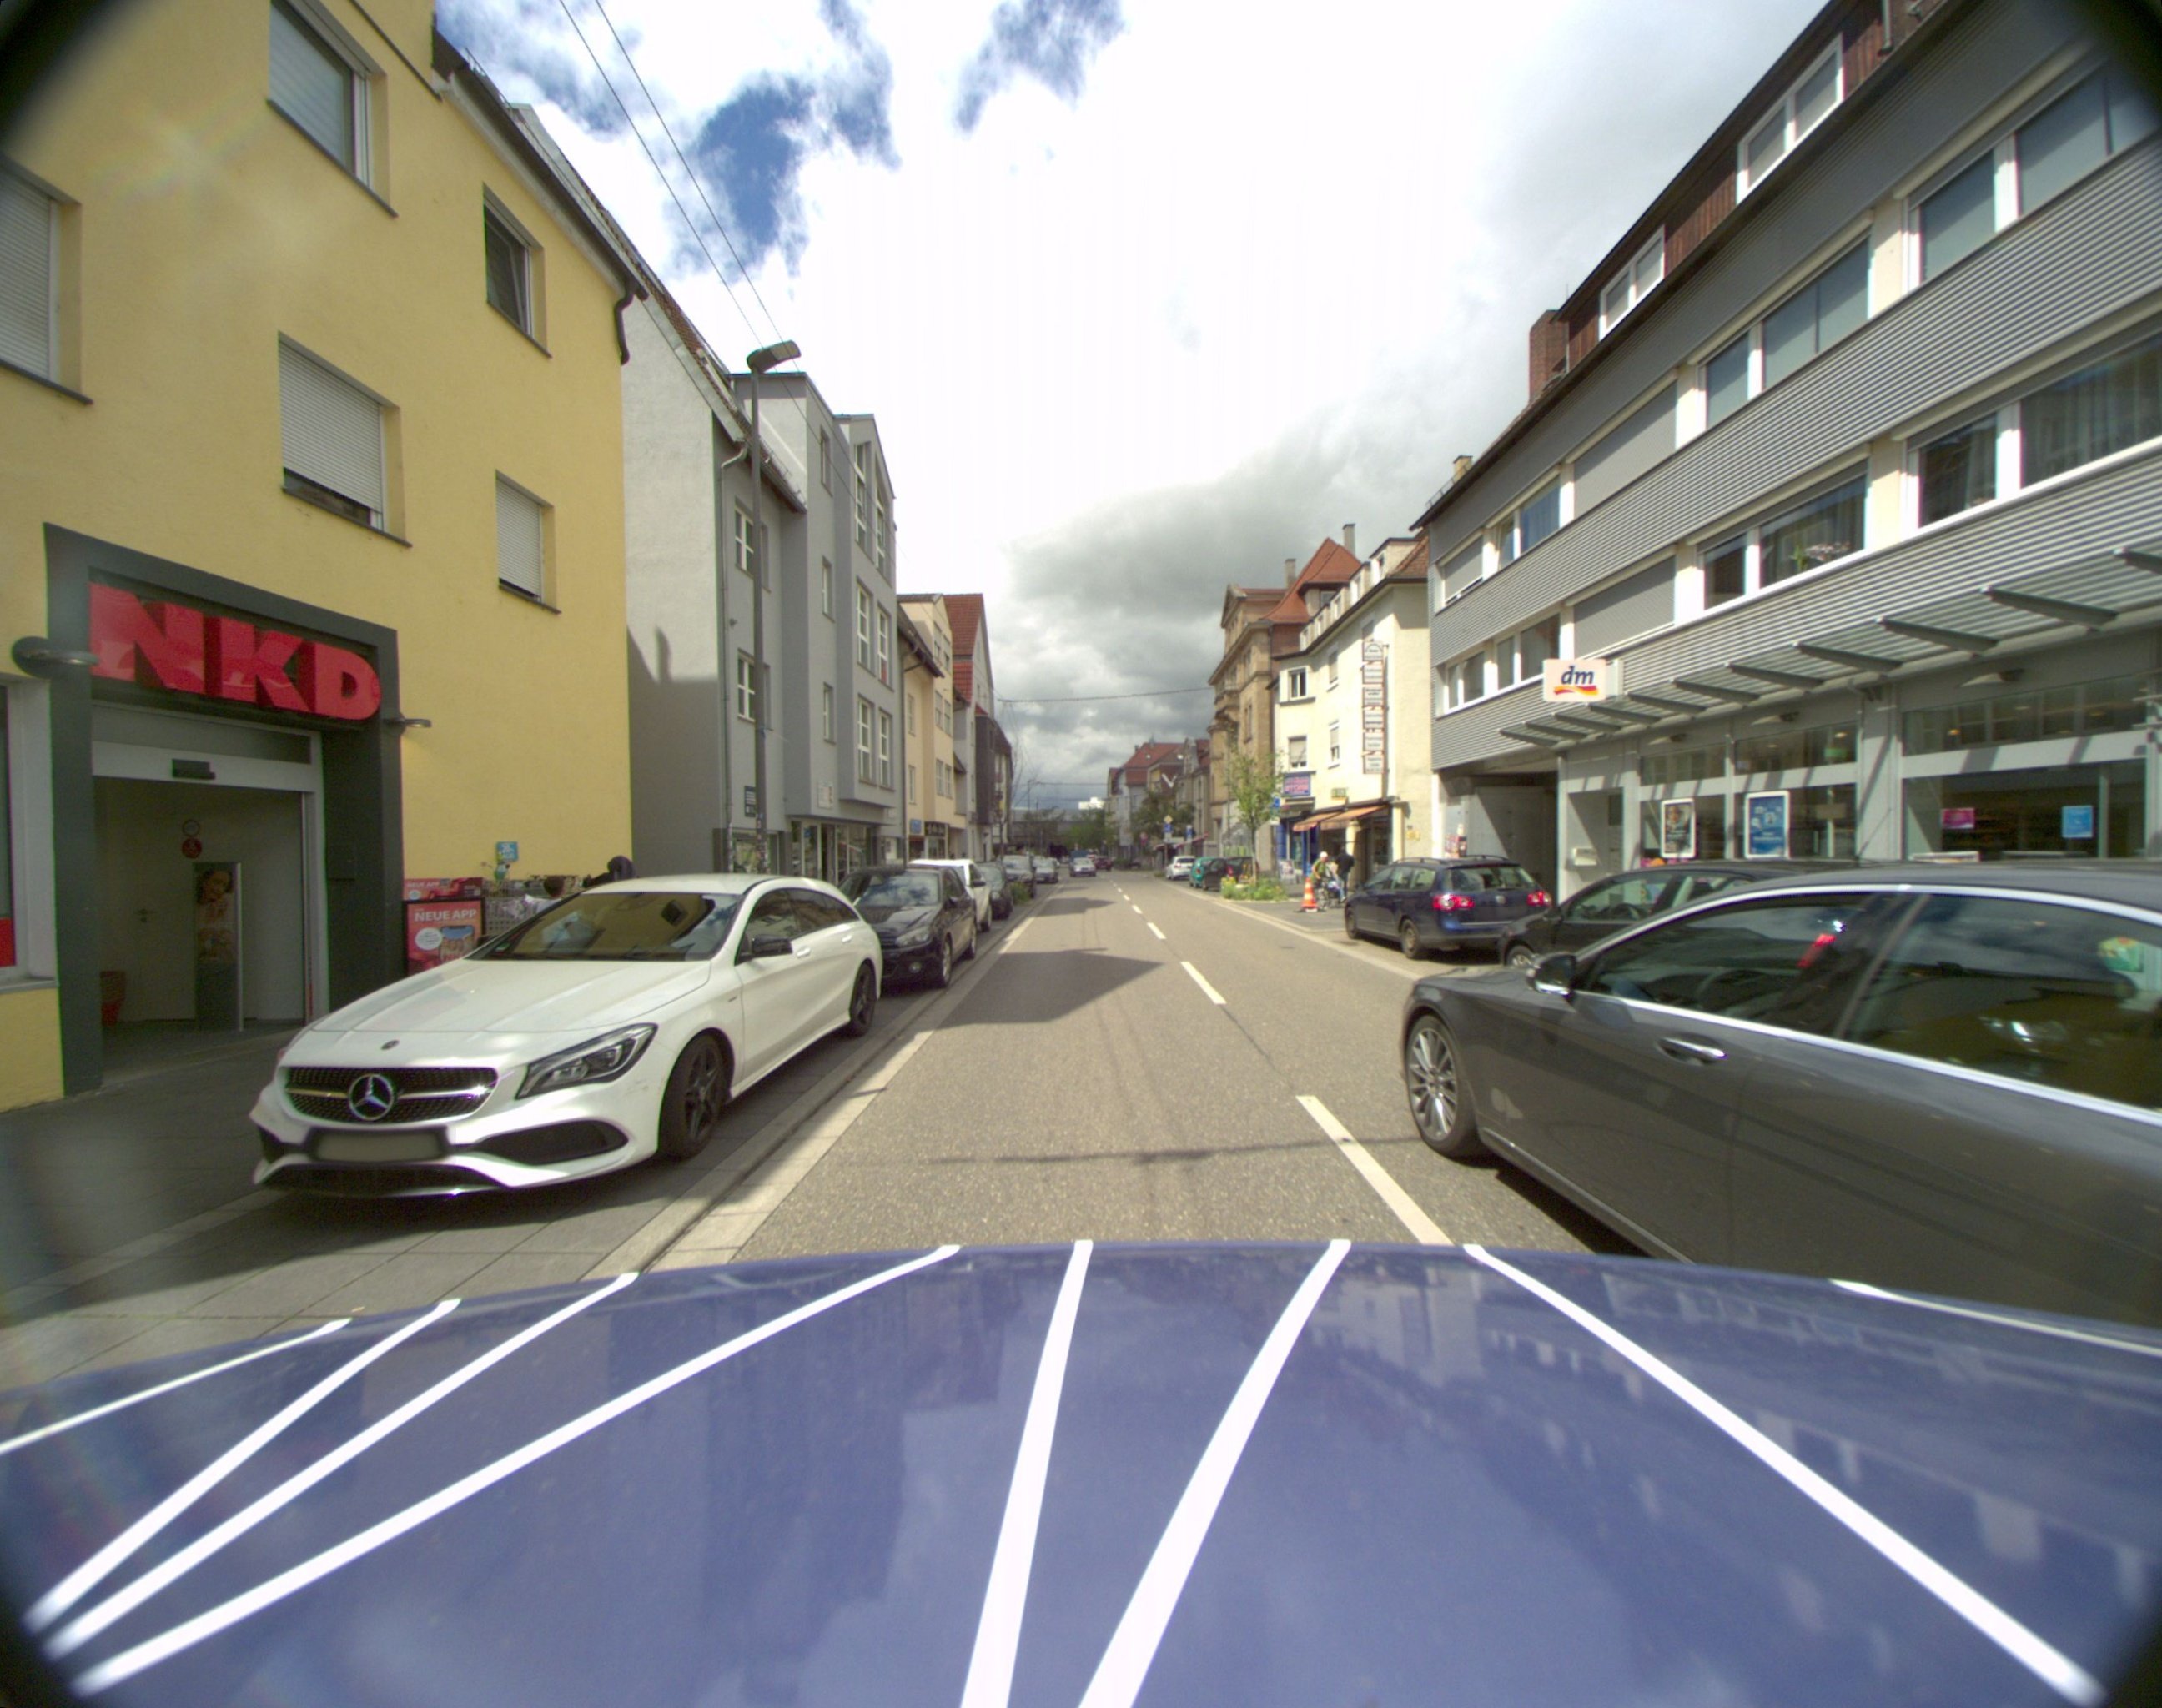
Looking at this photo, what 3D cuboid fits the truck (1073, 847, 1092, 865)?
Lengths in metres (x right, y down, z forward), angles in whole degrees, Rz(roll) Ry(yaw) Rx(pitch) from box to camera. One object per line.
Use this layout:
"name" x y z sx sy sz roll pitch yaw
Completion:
"truck" 0.166 0.225 106.856 2.112 2.292 6.472 -3 1 -4

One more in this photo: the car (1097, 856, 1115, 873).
"car" 2.388 1.011 74.347 1.536 1.521 3.758 -2 1 0

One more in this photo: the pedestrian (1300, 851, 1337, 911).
"pedestrian" 6.562 0.731 20.998 0.733 1.609 0.651 -3 1 -4

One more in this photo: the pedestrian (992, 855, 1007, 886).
"pedestrian" -4.601 0.935 42.780 0.745 1.708 0.655 -1 1 -1

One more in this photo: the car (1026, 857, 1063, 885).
"car" -2.119 0.999 45.411 1.711 1.412 4.318 -2 1 3

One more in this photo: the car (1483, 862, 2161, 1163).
"car" 5.439 0.903 6.330 1.795 1.495 4.176 -3 1 -2

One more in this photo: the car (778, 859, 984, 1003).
"car" -2.427 0.868 10.418 1.694 1.463 4.523 -3 -1 -2

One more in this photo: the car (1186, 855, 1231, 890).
"car" 5.985 0.832 35.915 1.589 1.406 3.668 -2 1 2

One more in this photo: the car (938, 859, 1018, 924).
"car" -2.651 0.919 20.385 1.694 1.432 4.294 1 1 -3

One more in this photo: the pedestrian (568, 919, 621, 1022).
"pedestrian" -4.959 1.173 7.748 0.350 0.995 0.295 -1 1 26

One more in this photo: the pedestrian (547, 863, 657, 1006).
"pedestrian" -5.441 0.888 8.667 0.751 1.544 0.726 -1 1 0

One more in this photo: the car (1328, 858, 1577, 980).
"car" 5.653 0.869 12.355 1.794 1.504 4.712 -2 0 1

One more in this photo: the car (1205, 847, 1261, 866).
"car" 13.368 0.208 66.843 4.391 1.373 1.997 -4 1 -19

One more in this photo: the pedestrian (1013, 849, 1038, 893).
"pedestrian" -2.395 0.702 32.777 0.978 1.853 0.864 1 1 -1

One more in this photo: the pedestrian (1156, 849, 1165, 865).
"pedestrian" 8.728 0.357 83.547 0.801 1.746 0.812 -3 1 -10

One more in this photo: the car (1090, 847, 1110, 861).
"car" 2.249 0.002 92.199 1.793 1.630 4.113 -3 1 -6

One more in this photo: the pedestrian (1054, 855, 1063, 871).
"pedestrian" -2.216 0.903 74.768 0.584 1.591 0.549 -2 2 17

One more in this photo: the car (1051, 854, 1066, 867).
"car" -2.892 0.793 98.255 1.804 1.594 4.203 1 0 -1

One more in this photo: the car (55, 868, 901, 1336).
"car" -2.755 0.952 5.207 1.634 1.467 4.957 -2 1 2

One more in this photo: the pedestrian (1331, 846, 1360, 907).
"pedestrian" 7.845 0.651 22.547 0.549 1.747 0.728 -3 1 -2

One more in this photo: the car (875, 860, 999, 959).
"car" -2.705 0.977 15.124 1.693 1.565 3.755 -2 1 0

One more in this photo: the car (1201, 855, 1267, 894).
"car" 6.204 0.800 31.219 1.602 1.437 3.555 -3 0 -6

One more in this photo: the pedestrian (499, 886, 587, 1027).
"pedestrian" -5.490 1.018 7.770 0.445 1.356 0.539 -1 1 17

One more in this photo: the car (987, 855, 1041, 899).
"car" -2.570 0.846 29.867 1.804 1.594 4.203 1 0 -1

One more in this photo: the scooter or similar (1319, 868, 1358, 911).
"scooter or similar" 7.090 0.971 20.939 0.784 1.119 0.630 -3 1 -4

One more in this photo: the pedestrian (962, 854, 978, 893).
"pedestrian" -4.992 0.862 34.176 0.537 1.708 0.606 -3 1 -1

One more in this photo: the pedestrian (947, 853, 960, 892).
"pedestrian" -5.721 0.826 34.219 0.437 1.708 0.537 -3 1 -2

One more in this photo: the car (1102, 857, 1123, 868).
"car" 3.997 1.093 97.012 1.723 1.296 4.463 -1 -1 -9

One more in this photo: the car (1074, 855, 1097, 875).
"car" 0.400 0.835 59.574 1.724 1.517 3.598 -1 0 1

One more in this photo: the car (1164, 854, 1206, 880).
"car" 6.337 0.793 46.816 1.850 1.390 4.035 -3 1 -2

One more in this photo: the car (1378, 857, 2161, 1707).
"car" 2.543 0.827 1.781 1.910 1.554 4.646 -2 0 1
